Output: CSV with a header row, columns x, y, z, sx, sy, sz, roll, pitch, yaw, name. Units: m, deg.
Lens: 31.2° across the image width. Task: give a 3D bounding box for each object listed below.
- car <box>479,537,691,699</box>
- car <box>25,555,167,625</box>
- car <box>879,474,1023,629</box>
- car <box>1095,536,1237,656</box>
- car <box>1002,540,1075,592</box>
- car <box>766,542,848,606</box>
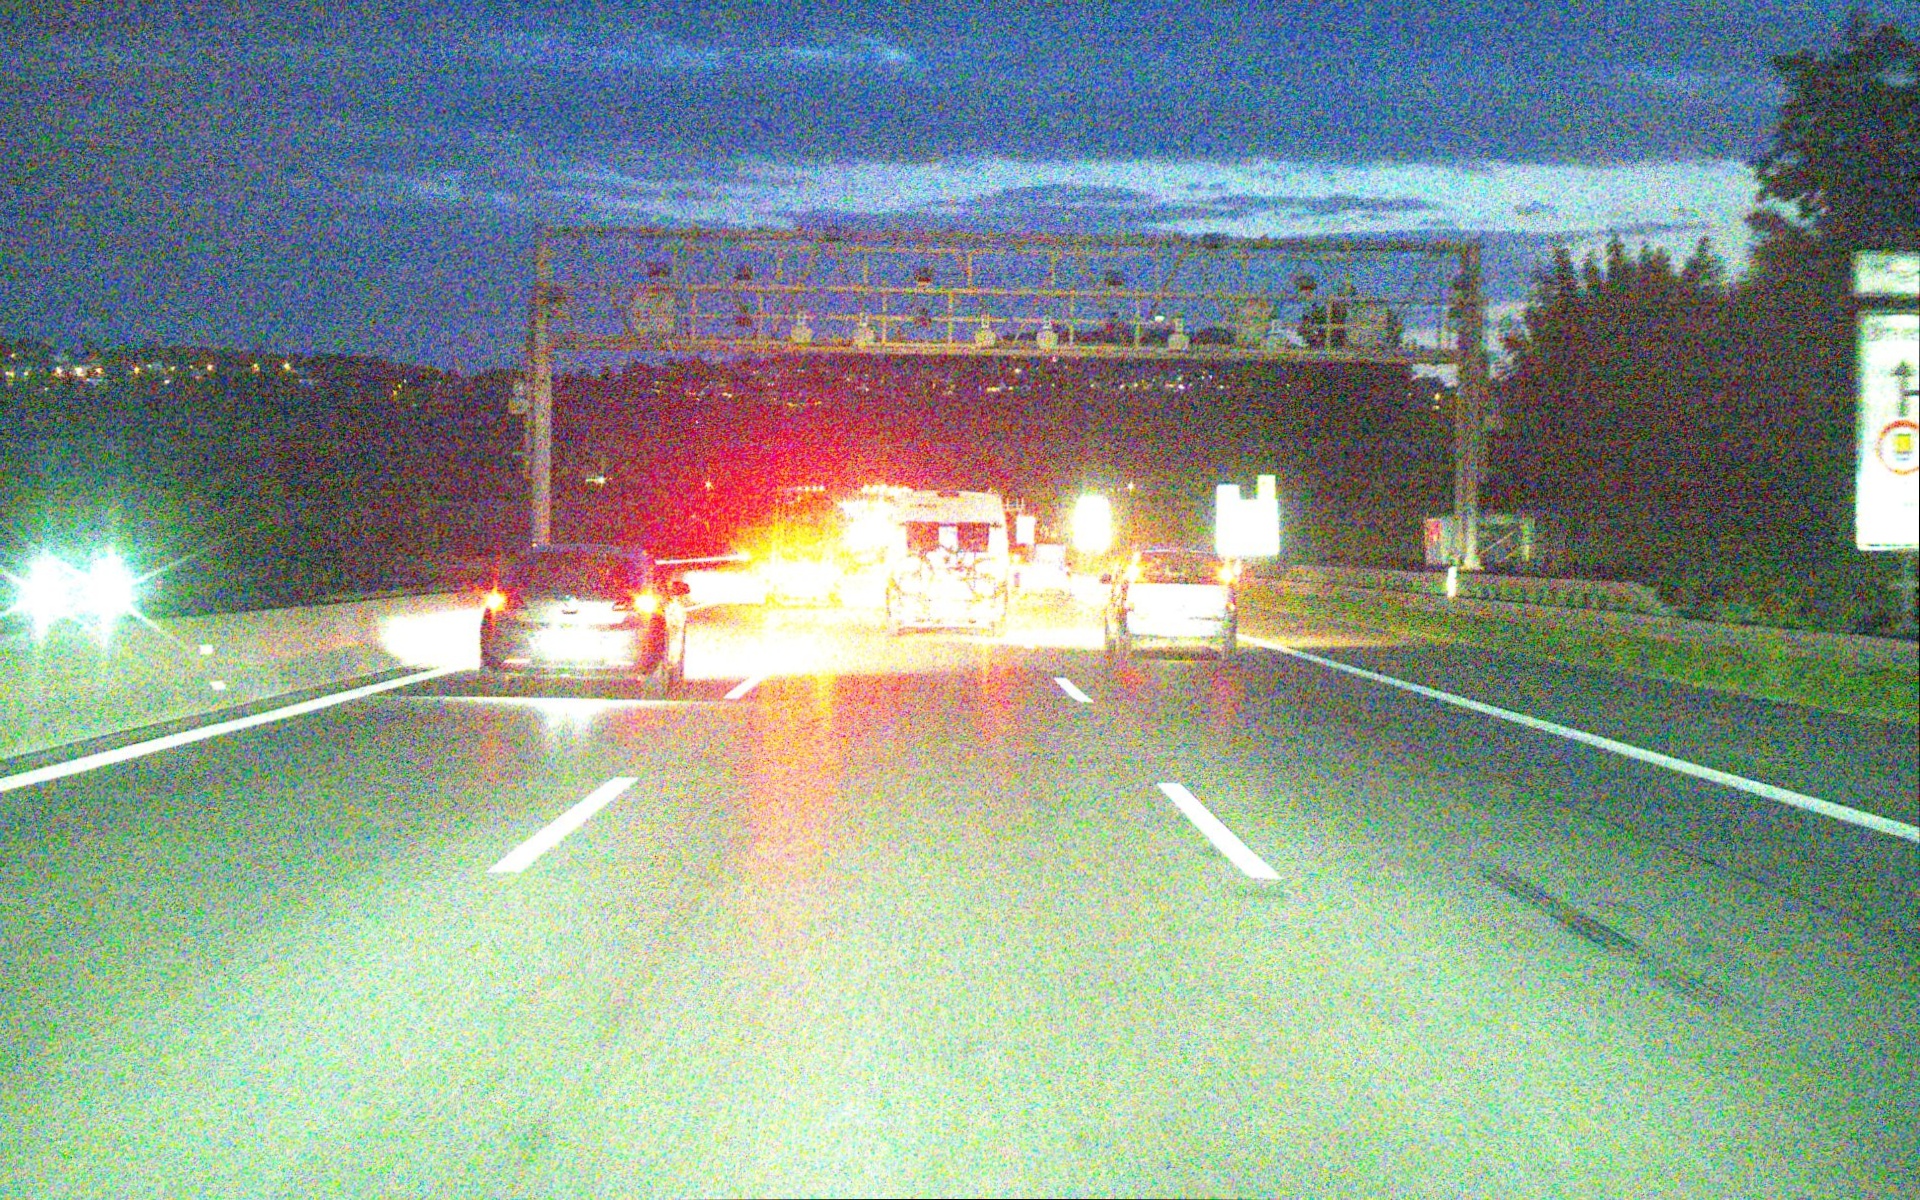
x,y,z,sx,sy,sz,roll,pitch,yaw,name
-3.658,0.134,34.065,1.793,1.464,3.773,1,1,-2,car
-19.935,-0.253,79.547,1.964,1.532,5.185,0,1,0,car
-0.146,-0.859,58.931,2.351,2.526,5.701,0,1,0,car
2.884,-0.085,48.976,1.646,1.591,4.510,1,1,-1,car
2.424,-1.078,107.454,2.163,1.558,4.723,1,1,0,car
-3.596,-0.637,81.447,1.744,1.435,4.368,0,1,0,car
